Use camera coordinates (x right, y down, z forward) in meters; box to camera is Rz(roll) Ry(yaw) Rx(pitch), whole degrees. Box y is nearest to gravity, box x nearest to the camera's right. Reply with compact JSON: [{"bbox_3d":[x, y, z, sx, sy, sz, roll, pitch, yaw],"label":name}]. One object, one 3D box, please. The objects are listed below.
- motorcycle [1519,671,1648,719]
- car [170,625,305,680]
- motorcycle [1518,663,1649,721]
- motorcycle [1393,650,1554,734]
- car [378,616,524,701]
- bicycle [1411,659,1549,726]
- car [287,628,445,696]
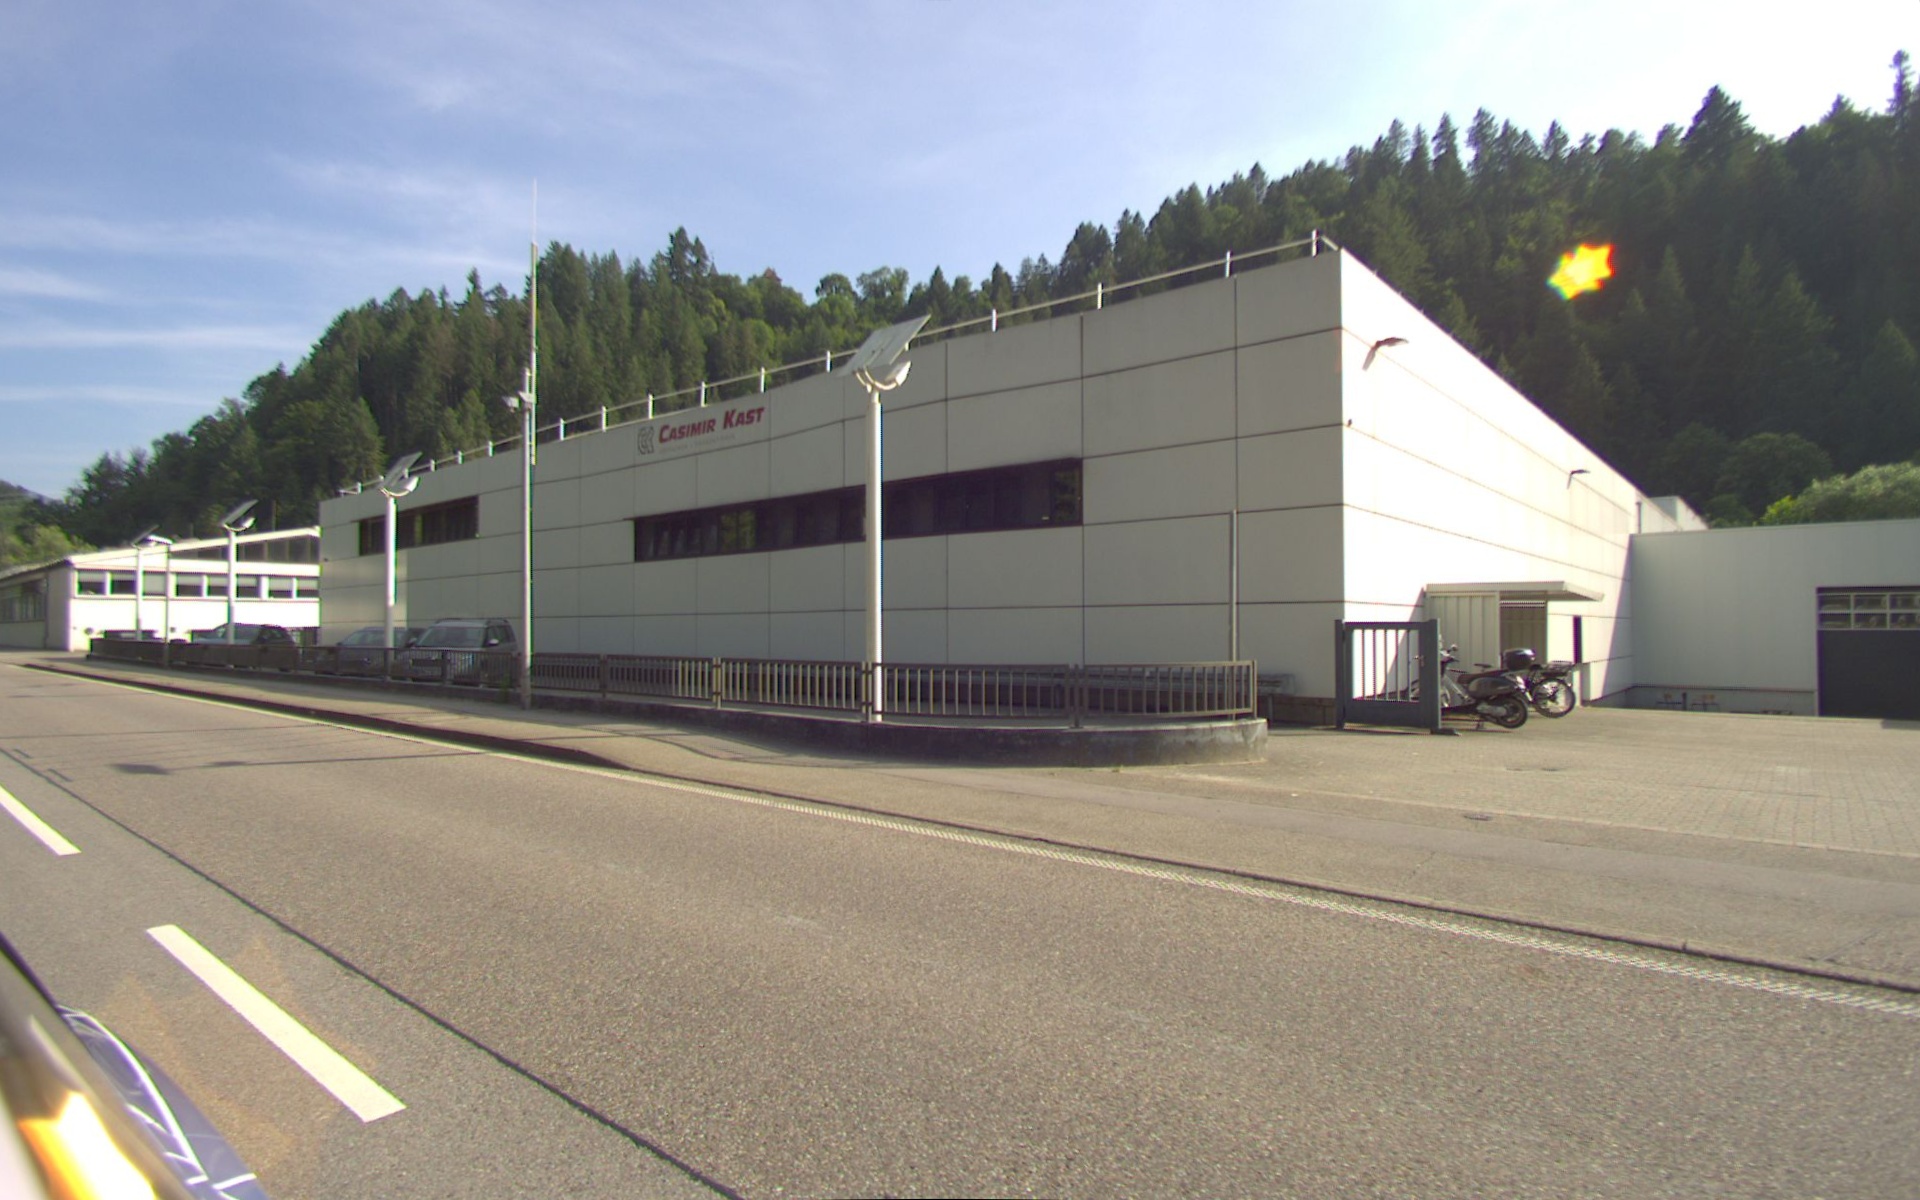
[{"bbox_3d":[11.459,1.730,18.650,1.977,0.766,0.486,-2,-3,41],"label":"motorcycle"},{"bbox_3d":[-23.296,1.637,32.830,1.859,1.604,4.182,0,-1,-8],"label":"car"},{"bbox_3d":[11.141,1.630,18.134,1.926,0.939,0.509,-2,-3,41],"label":"motorcycle"},{"bbox_3d":[7.663,1.343,15.173,2.087,1.161,0.507,-2,-3,41],"label":"motorcycle"},{"bbox_3d":[-11.455,1.246,23.073,1.753,1.721,4.117,0,-1,-8],"label":"car"},{"bbox_3d":[8.389,1.471,16.384,1.910,0.998,0.507,-2,-3,41],"label":"bicycle"},{"bbox_3d":[-14.805,1.482,25.527,1.859,1.506,4.496,0,-1,-8],"label":"car"}]
